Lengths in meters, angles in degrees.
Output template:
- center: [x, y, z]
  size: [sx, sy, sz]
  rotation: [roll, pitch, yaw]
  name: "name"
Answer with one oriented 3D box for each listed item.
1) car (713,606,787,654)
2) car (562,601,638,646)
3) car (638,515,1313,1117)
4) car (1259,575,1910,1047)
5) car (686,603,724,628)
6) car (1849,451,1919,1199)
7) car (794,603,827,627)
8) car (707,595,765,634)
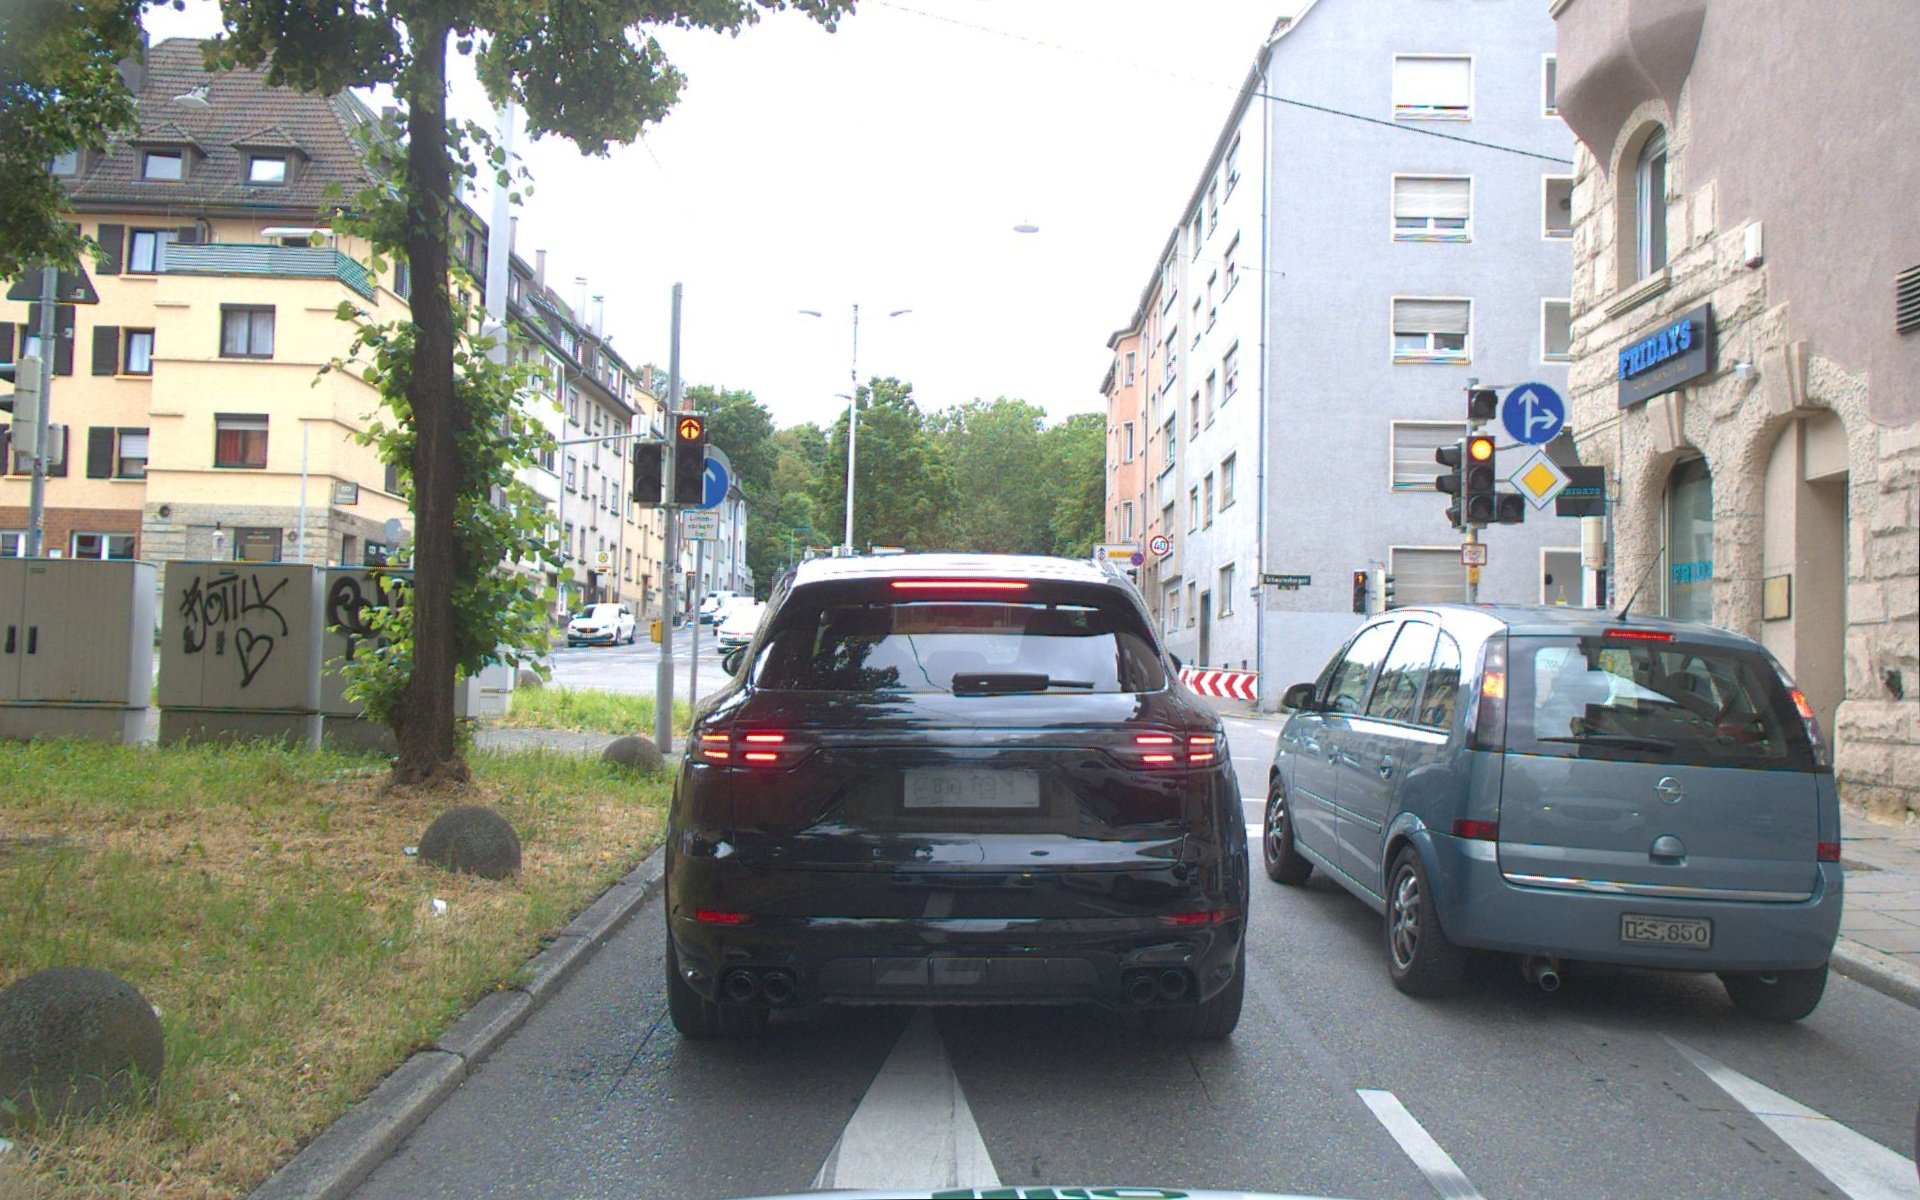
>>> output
- center: [-6.635, 0.924, 52.563]
  size: [1.824, 1.412, 4.094]
  rotation: [1, 0, 0]
  name: "car"
- center: [-12.683, 0.808, 58.434]
  size: [1.806, 1.512, 3.897]
  rotation: [1, 0, 0]
  name: "car"
- center: [0.022, 0.623, 6.709]
  size: [1.916, 1.704, 3.999]
  rotation: [0, 0, -1]
  name: "car"
- center: [2.628, 0.782, 7.900]
  size: [1.596, 1.625, 3.668]
  rotation: [4, 0, -1]
  name: "car"
- center: [-15.168, 0.908, 98.555]
  size: [1.703, 1.411, 3.813]
  rotation: [1, 0, 0]
  name: "car"
- center: [2.868, 0.677, 1.012]
  size: [1.936, 1.806, 4.674]
  rotation: [4, 0, -2]
  name: "car"
- center: [-9.664, 0.971, 107.253]
  size: [1.585, 1.506, 3.824]
  rotation: [1, -1, 3]
  name: "car"
- center: [-9.906, 0.628, 73.456]
  size: [1.933, 1.638, 4.557]
  rotation: [1, 0, -1]
  name: "car"
